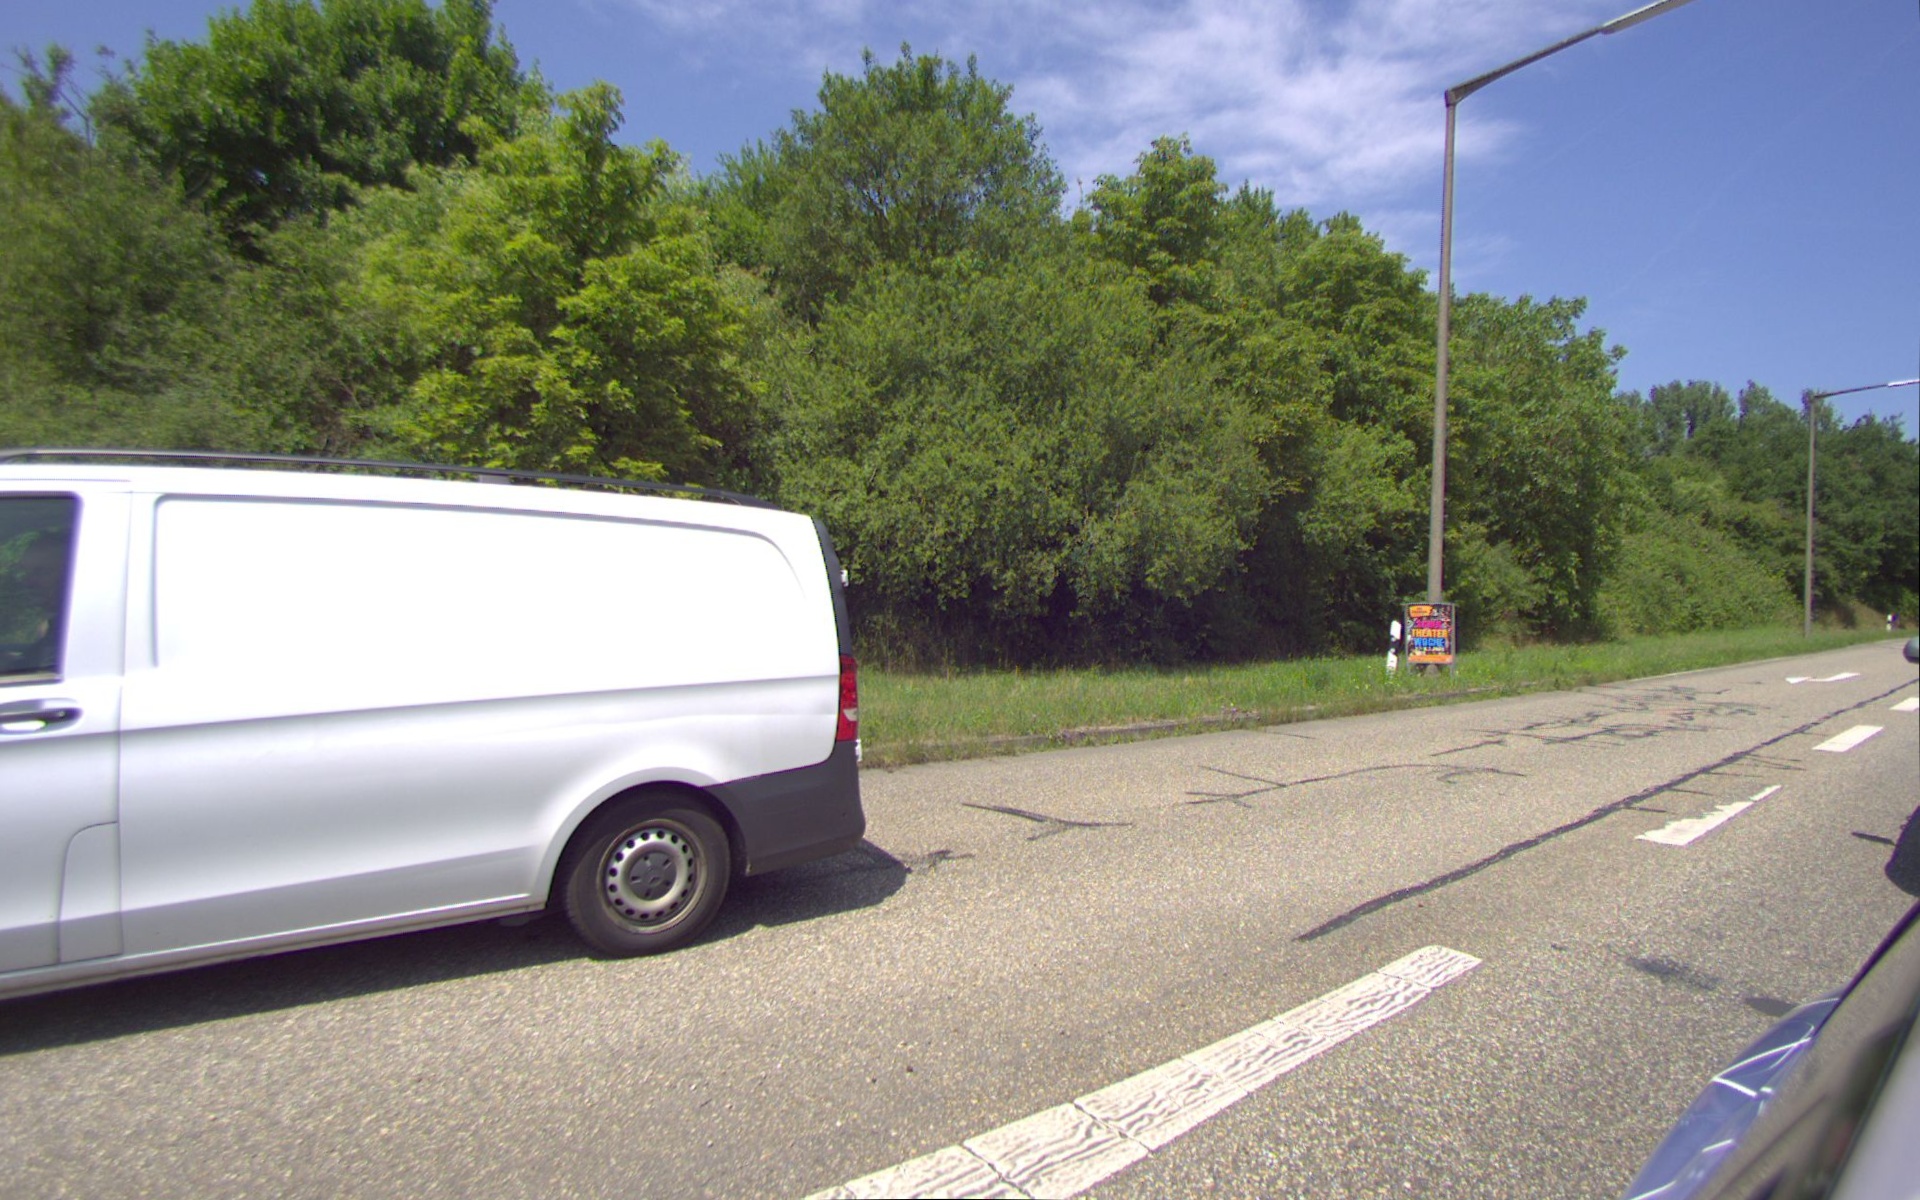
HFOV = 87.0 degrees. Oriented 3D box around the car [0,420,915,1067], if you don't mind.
[{"bbox_3d":[-2.738,0.391,3.973,4.811,1.841,1.868,1,1,-32],"label":"car"}]
